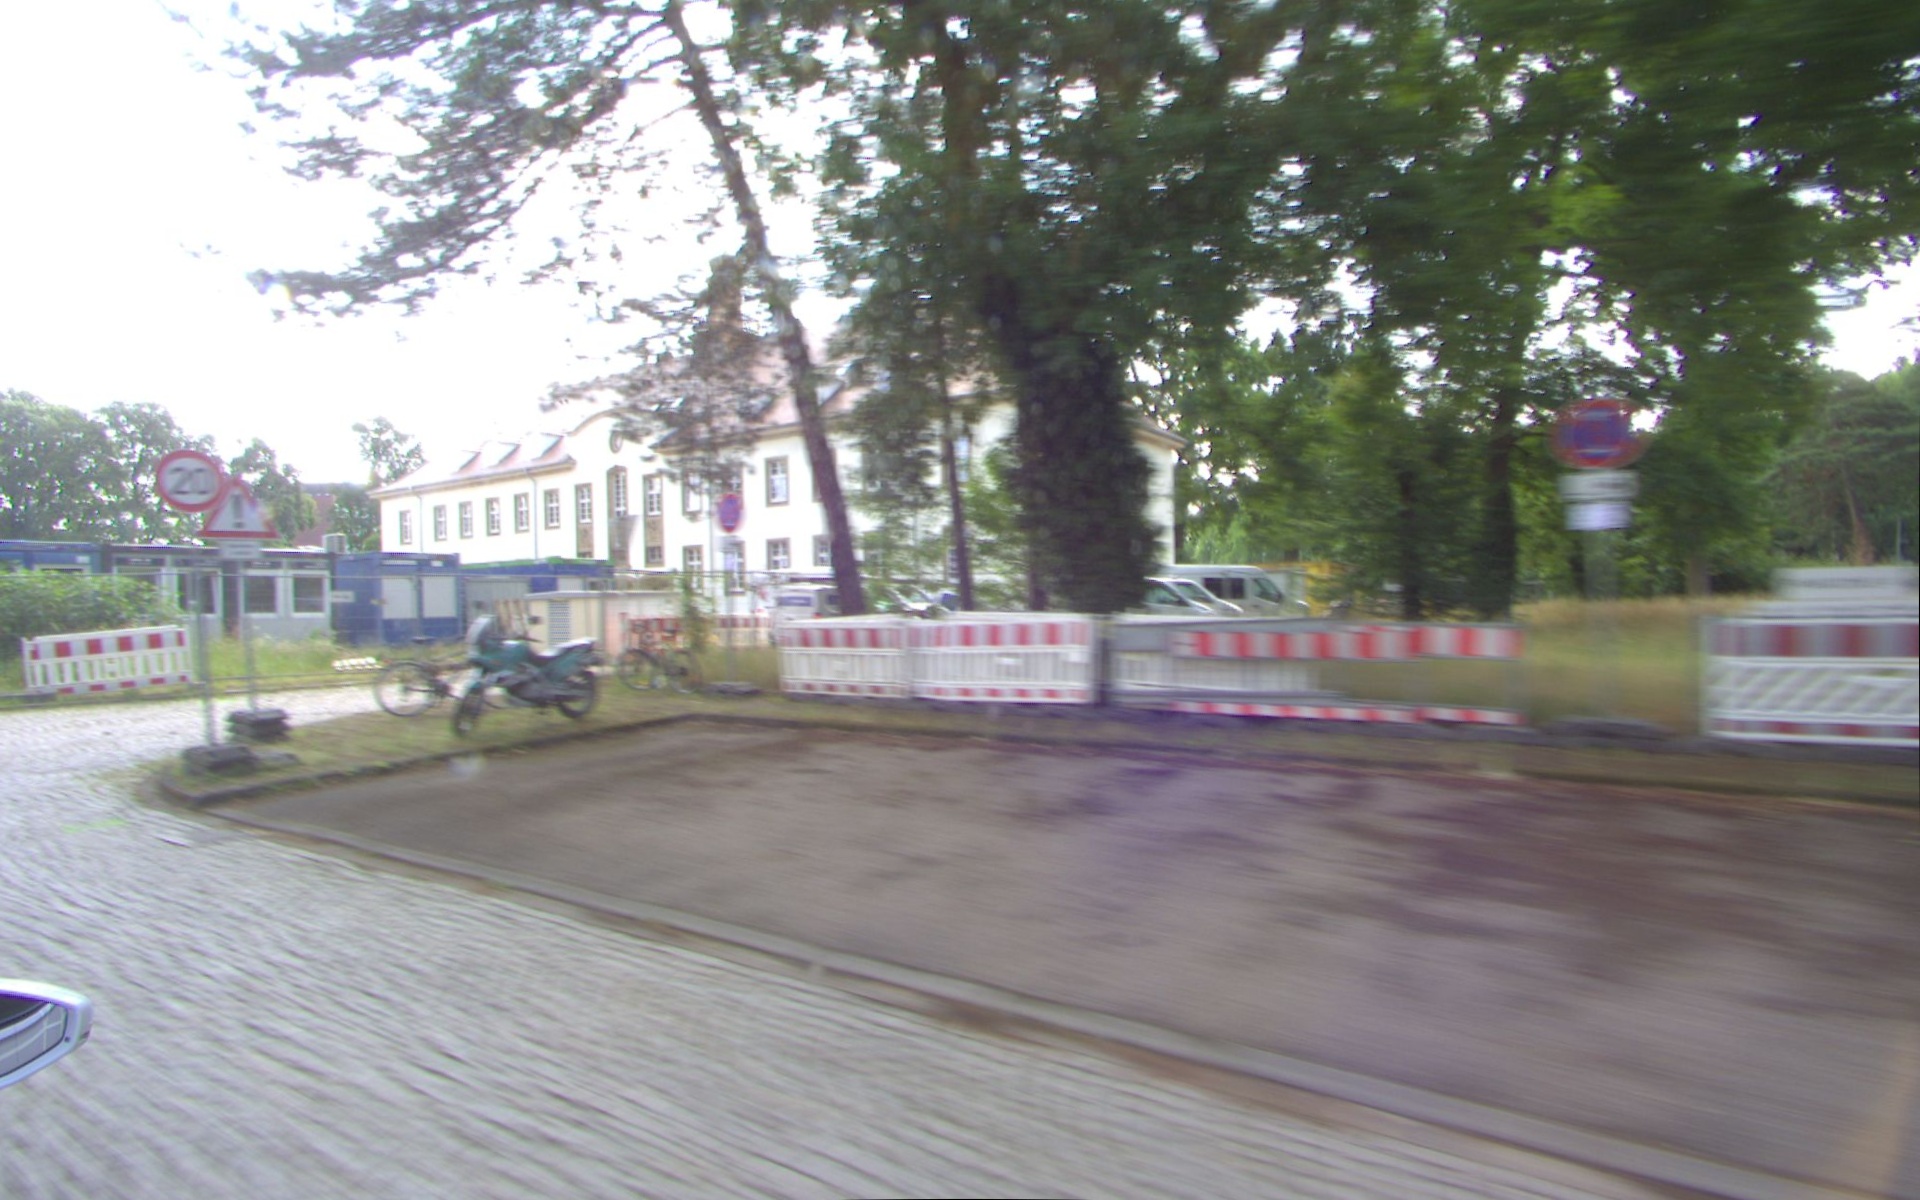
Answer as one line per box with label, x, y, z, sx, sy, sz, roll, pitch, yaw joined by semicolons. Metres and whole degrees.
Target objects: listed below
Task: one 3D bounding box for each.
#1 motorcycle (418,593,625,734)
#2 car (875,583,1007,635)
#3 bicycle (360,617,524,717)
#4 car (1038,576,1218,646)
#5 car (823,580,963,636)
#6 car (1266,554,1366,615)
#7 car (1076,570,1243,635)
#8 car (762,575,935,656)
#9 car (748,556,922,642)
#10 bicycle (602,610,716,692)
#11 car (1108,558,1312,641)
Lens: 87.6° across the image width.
motorcycle;-5.163;0.685;11.997;0.745;1.505;2.274;-1;1;28
car;-0.745;0.380;38.150;4.810;1.848;1.988;-1;-1;35
bicycle;-7.016;0.867;13.615;1.881;1.213;0.651;-2;1;-38
car;4.634;0.332;28.064;4.780;1.848;2.000;-1;-1;7
car;-2.407;0.322;35.406;4.811;1.848;1.987;-2;-1;36
car;13.858;-0.505;38.681;2.182;2.122;6.127;-1;-2;34
car;5.952;0.117;30.367;4.780;1.848;2.000;-1;-1;7
car;-2.835;0.352;26.566;1.880;1.947;4.845;1;1;34
car;-4.147;0.049;32.534;5.832;2.589;1.988;-1;-1;36
bicycle;-4.641;0.761;15.377;1.879;1.185;0.640;-1;1;36
car;8.159;0.013;33.194;6.297;2.611;2.000;-1;-1;4
